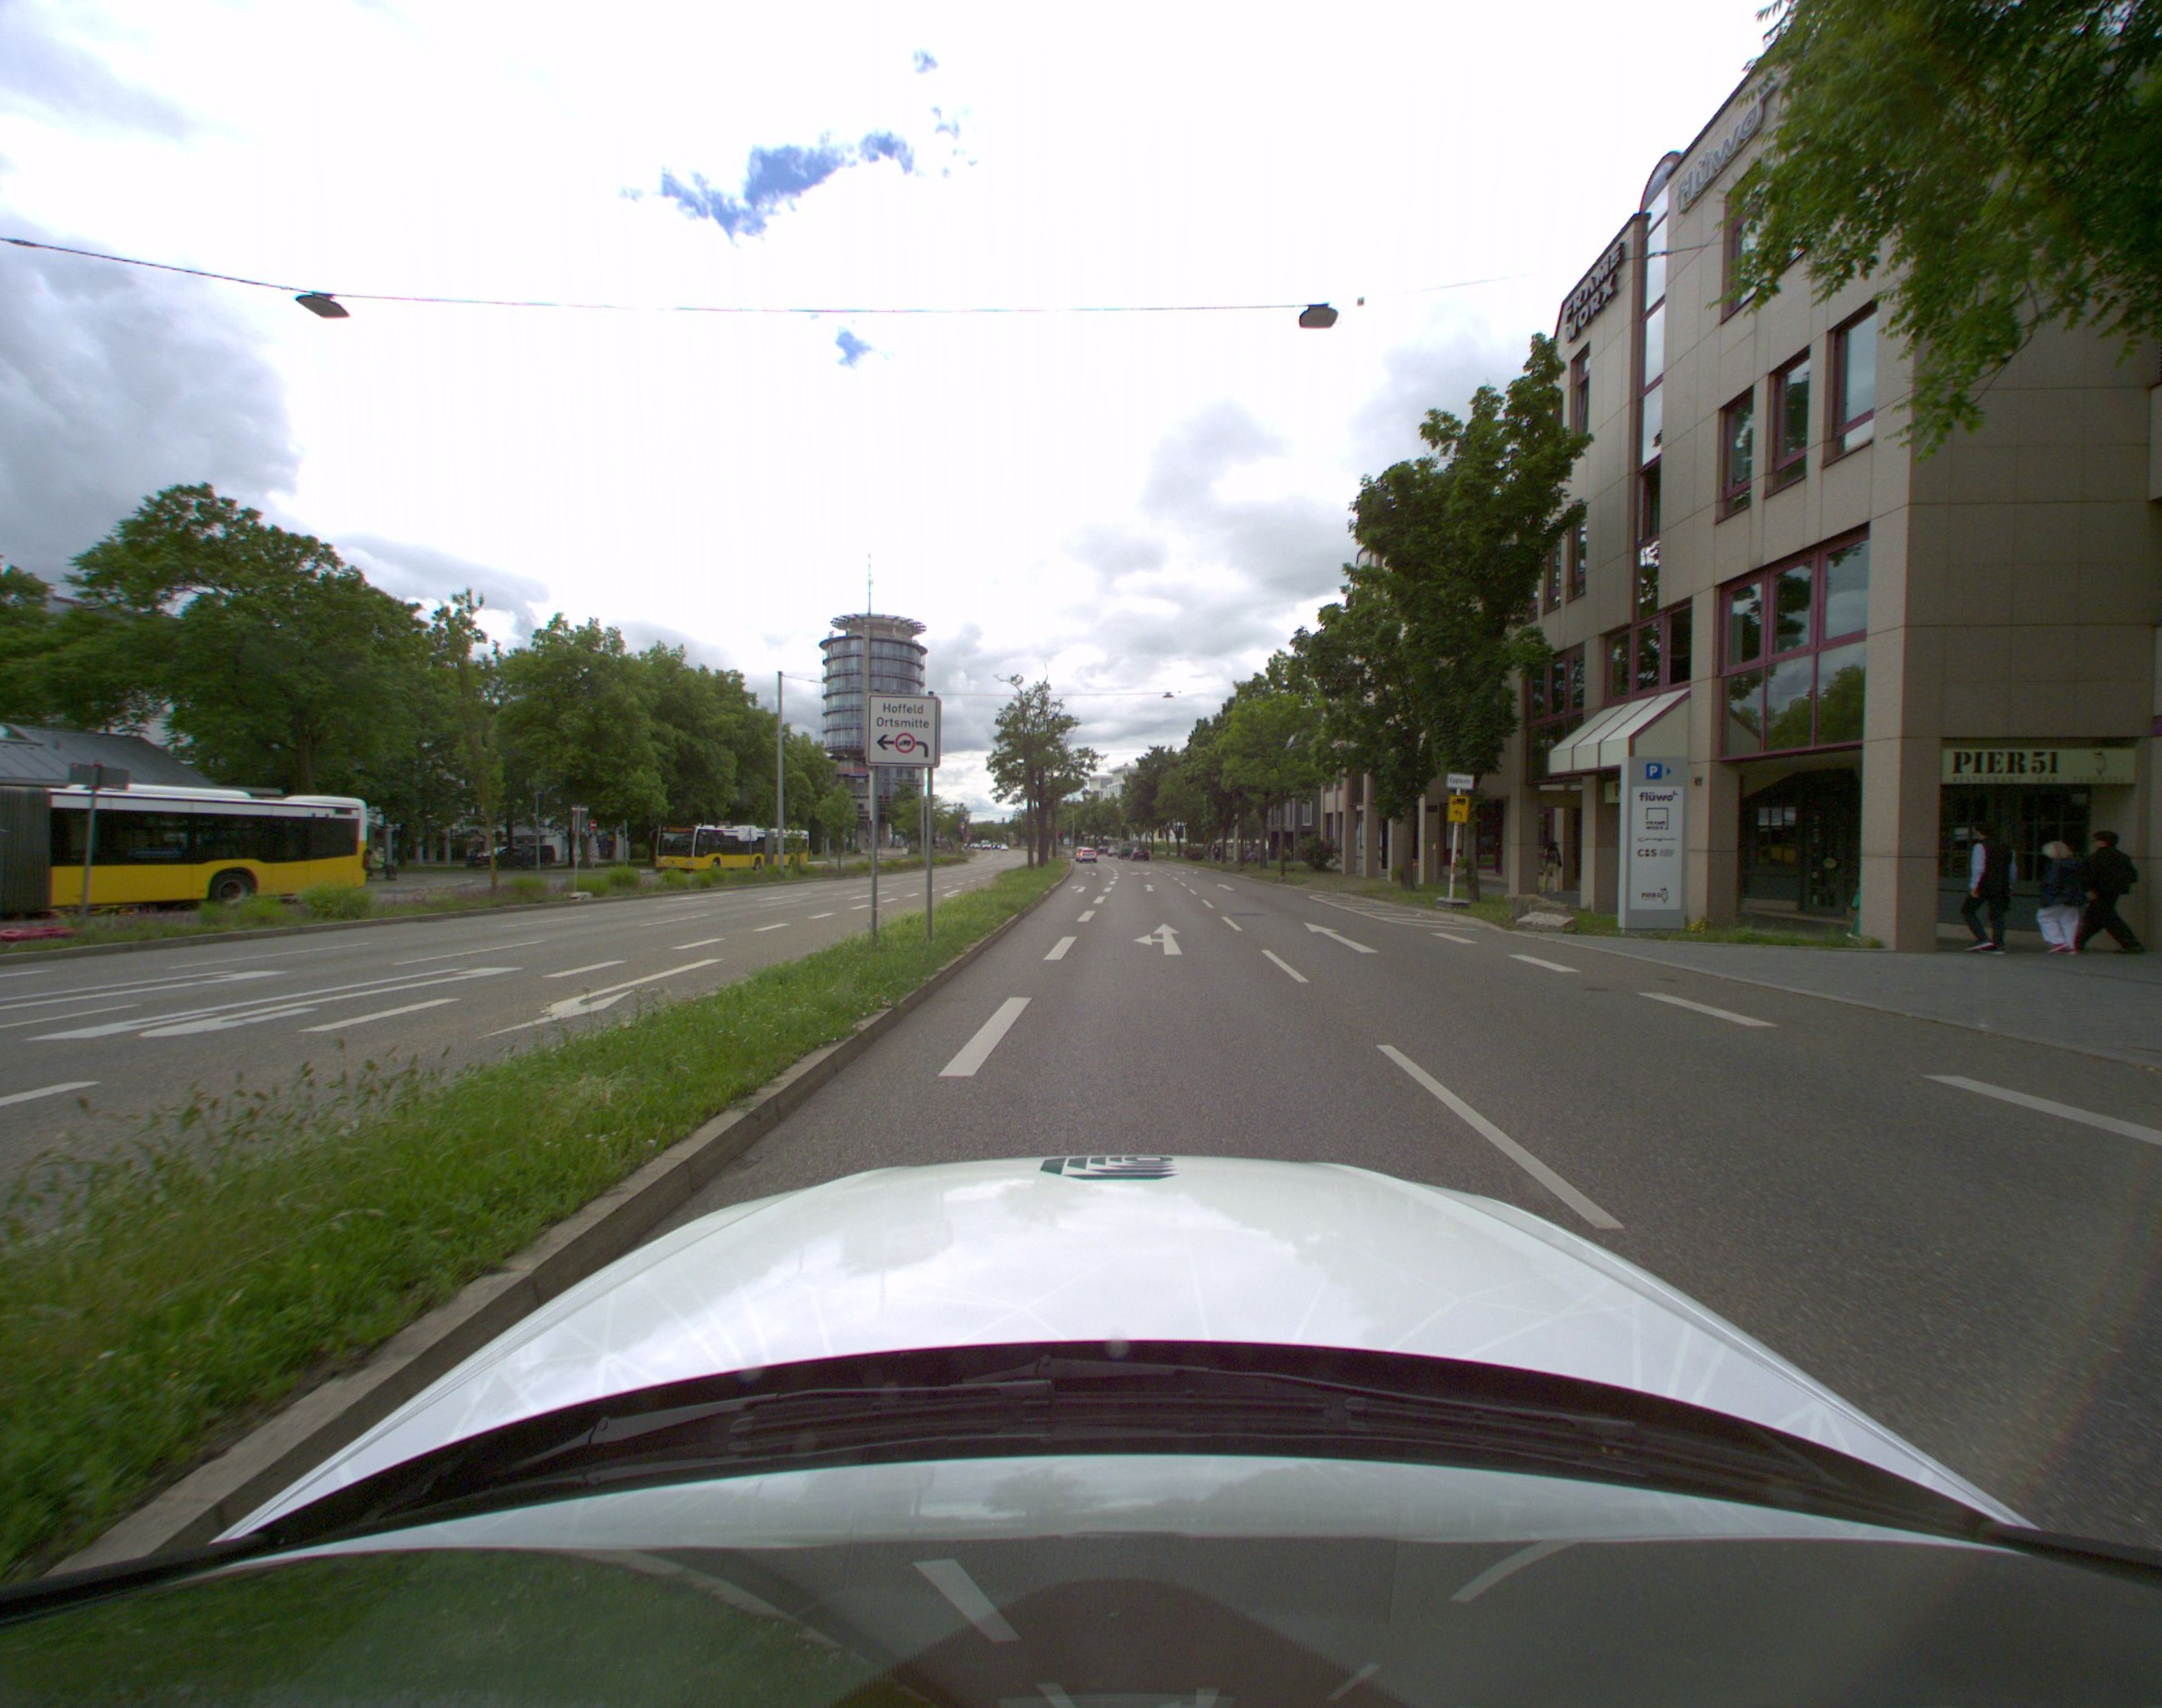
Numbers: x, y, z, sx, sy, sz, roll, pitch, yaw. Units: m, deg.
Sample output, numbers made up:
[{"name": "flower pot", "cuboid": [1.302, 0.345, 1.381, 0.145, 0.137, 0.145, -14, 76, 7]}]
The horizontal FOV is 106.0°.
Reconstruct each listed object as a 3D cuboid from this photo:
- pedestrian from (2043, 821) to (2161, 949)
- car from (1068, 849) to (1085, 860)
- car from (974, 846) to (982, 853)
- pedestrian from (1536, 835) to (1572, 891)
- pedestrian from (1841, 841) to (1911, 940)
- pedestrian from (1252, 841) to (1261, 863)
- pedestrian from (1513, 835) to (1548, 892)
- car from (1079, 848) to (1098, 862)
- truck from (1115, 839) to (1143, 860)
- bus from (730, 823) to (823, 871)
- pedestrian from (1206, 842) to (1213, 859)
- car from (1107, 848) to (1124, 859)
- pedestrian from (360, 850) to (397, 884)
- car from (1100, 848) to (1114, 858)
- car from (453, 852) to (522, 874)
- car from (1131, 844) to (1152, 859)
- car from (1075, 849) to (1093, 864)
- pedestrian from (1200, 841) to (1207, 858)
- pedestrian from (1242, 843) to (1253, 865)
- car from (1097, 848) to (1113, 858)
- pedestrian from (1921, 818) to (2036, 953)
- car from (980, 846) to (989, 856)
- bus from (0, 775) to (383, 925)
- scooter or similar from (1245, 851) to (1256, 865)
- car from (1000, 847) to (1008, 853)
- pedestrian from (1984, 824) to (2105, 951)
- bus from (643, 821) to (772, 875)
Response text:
[{"name": "pedestrian", "cuboid": [14.215, 0.415, 11.310, 0.654, 1.691, 0.843, -2, 0, 3]}, {"name": "car", "cuboid": [-0.567, 0.009, 111.253, 1.984, 1.508, 4.005, 0, 0, 4]}, {"name": "car", "cuboid": [-30.145, -1.414, 237.918, 1.990, 2.010, 4.318, 1, 0, -4]}, {"name": "pedestrian", "cuboid": [14.570, 0.267, 25.109, 0.592, 1.705, 0.971, 0, 0, 4]}, {"name": "pedestrian", "cuboid": [12.909, 0.578, 13.236, 0.558, 1.550, 0.544, -2, 0, 3]}, {"name": "pedestrian", "cuboid": [13.560, -0.148, 62.989, 0.565, 1.700, 0.830, 0, 0, 4]}, {"name": "pedestrian", "cuboid": [13.849, 0.292, 25.120, 0.592, 1.705, 0.971, 0, 0, 4]}, {"name": "car", "cuboid": [0.814, 0.092, 85.075, 1.856, 1.449, 4.001, 0, 0, 1]}, {"name": "truck", "cuboid": [5.978, -0.580, 101.610, 2.853, 2.519, 6.280, 0, 0, -3]}, {"name": "bus", "cuboid": [-23.833, -0.522, 64.500, 3.018, 3.455, 9.921, 1, 0, 4]}, {"name": "pedestrian", "cuboid": [14.035, -0.419, 88.822, 0.606, 1.775, 0.953, 0, 2, -1]}, {"name": "car", "cuboid": [4.756, -0.094, 113.470, 1.989, 1.508, 3.995, -1, 0, -4]}, {"name": "pedestrian", "cuboid": [-28.013, 0.507, 32.489, 0.859, 1.290, 0.888, 0, 0, -24]}, {"name": "car", "cuboid": [4.197, -0.188, 132.267, 1.989, 1.490, 3.995, 0, 0, -4]}, {"name": "car", "cuboid": [-45.217, 0.633, 62.148, 1.985, 1.581, 4.252, -1, 0, 4]}, {"name": "car", "cuboid": [6.528, -0.276, 88.609, 1.987, 1.596, 4.000, 0, 0, 0]}, {"name": "car", "cuboid": [0.370, 0.283, 92.130, 1.987, 1.672, 3.999, 0, 0, 0]}, {"name": "pedestrian", "cuboid": [13.330, -0.503, 88.740, 0.606, 1.775, 0.953, 0, 2, -1]}, {"name": "pedestrian", "cuboid": [12.856, -0.013, 63.068, 0.554, 1.652, 0.960, -2, 0, -4]}, {"name": "car", "cuboid": [3.876, -0.173, 132.252, 1.992, 1.508, 3.989, 0, 0, -8]}, {"name": "pedestrian", "cuboid": [12.688, 0.434, 11.539, 0.654, 1.826, 0.843, -2, 0, 3]}, {"name": "car", "cuboid": [-25.517, -0.718, 215.007, 1.990, 2.634, 5.867, 1, 0, -4]}, {"name": "bus", "cuboid": [-23.429, -0.135, 20.433, 2.793, 3.132, 9.322, 2, 1, 8]}, {"name": "scooter or similar", "cuboid": [12.921, 0.304, 62.164, 0.582, 0.993, 0.845, -2, 0, -4]}, {"name": "car", "cuboid": [-18.532, -0.950, 195.667, 1.749, 1.444, 4.129, 1, 0, -4]}, {"name": "pedestrian", "cuboid": [13.450, 0.453, 11.395, 0.654, 1.691, 0.843, -2, 0, 3]}, {"name": "bus", "cuboid": [-24.423, -0.379, 54.198, 3.071, 3.162, 10.746, 1, 0, 3]}]
